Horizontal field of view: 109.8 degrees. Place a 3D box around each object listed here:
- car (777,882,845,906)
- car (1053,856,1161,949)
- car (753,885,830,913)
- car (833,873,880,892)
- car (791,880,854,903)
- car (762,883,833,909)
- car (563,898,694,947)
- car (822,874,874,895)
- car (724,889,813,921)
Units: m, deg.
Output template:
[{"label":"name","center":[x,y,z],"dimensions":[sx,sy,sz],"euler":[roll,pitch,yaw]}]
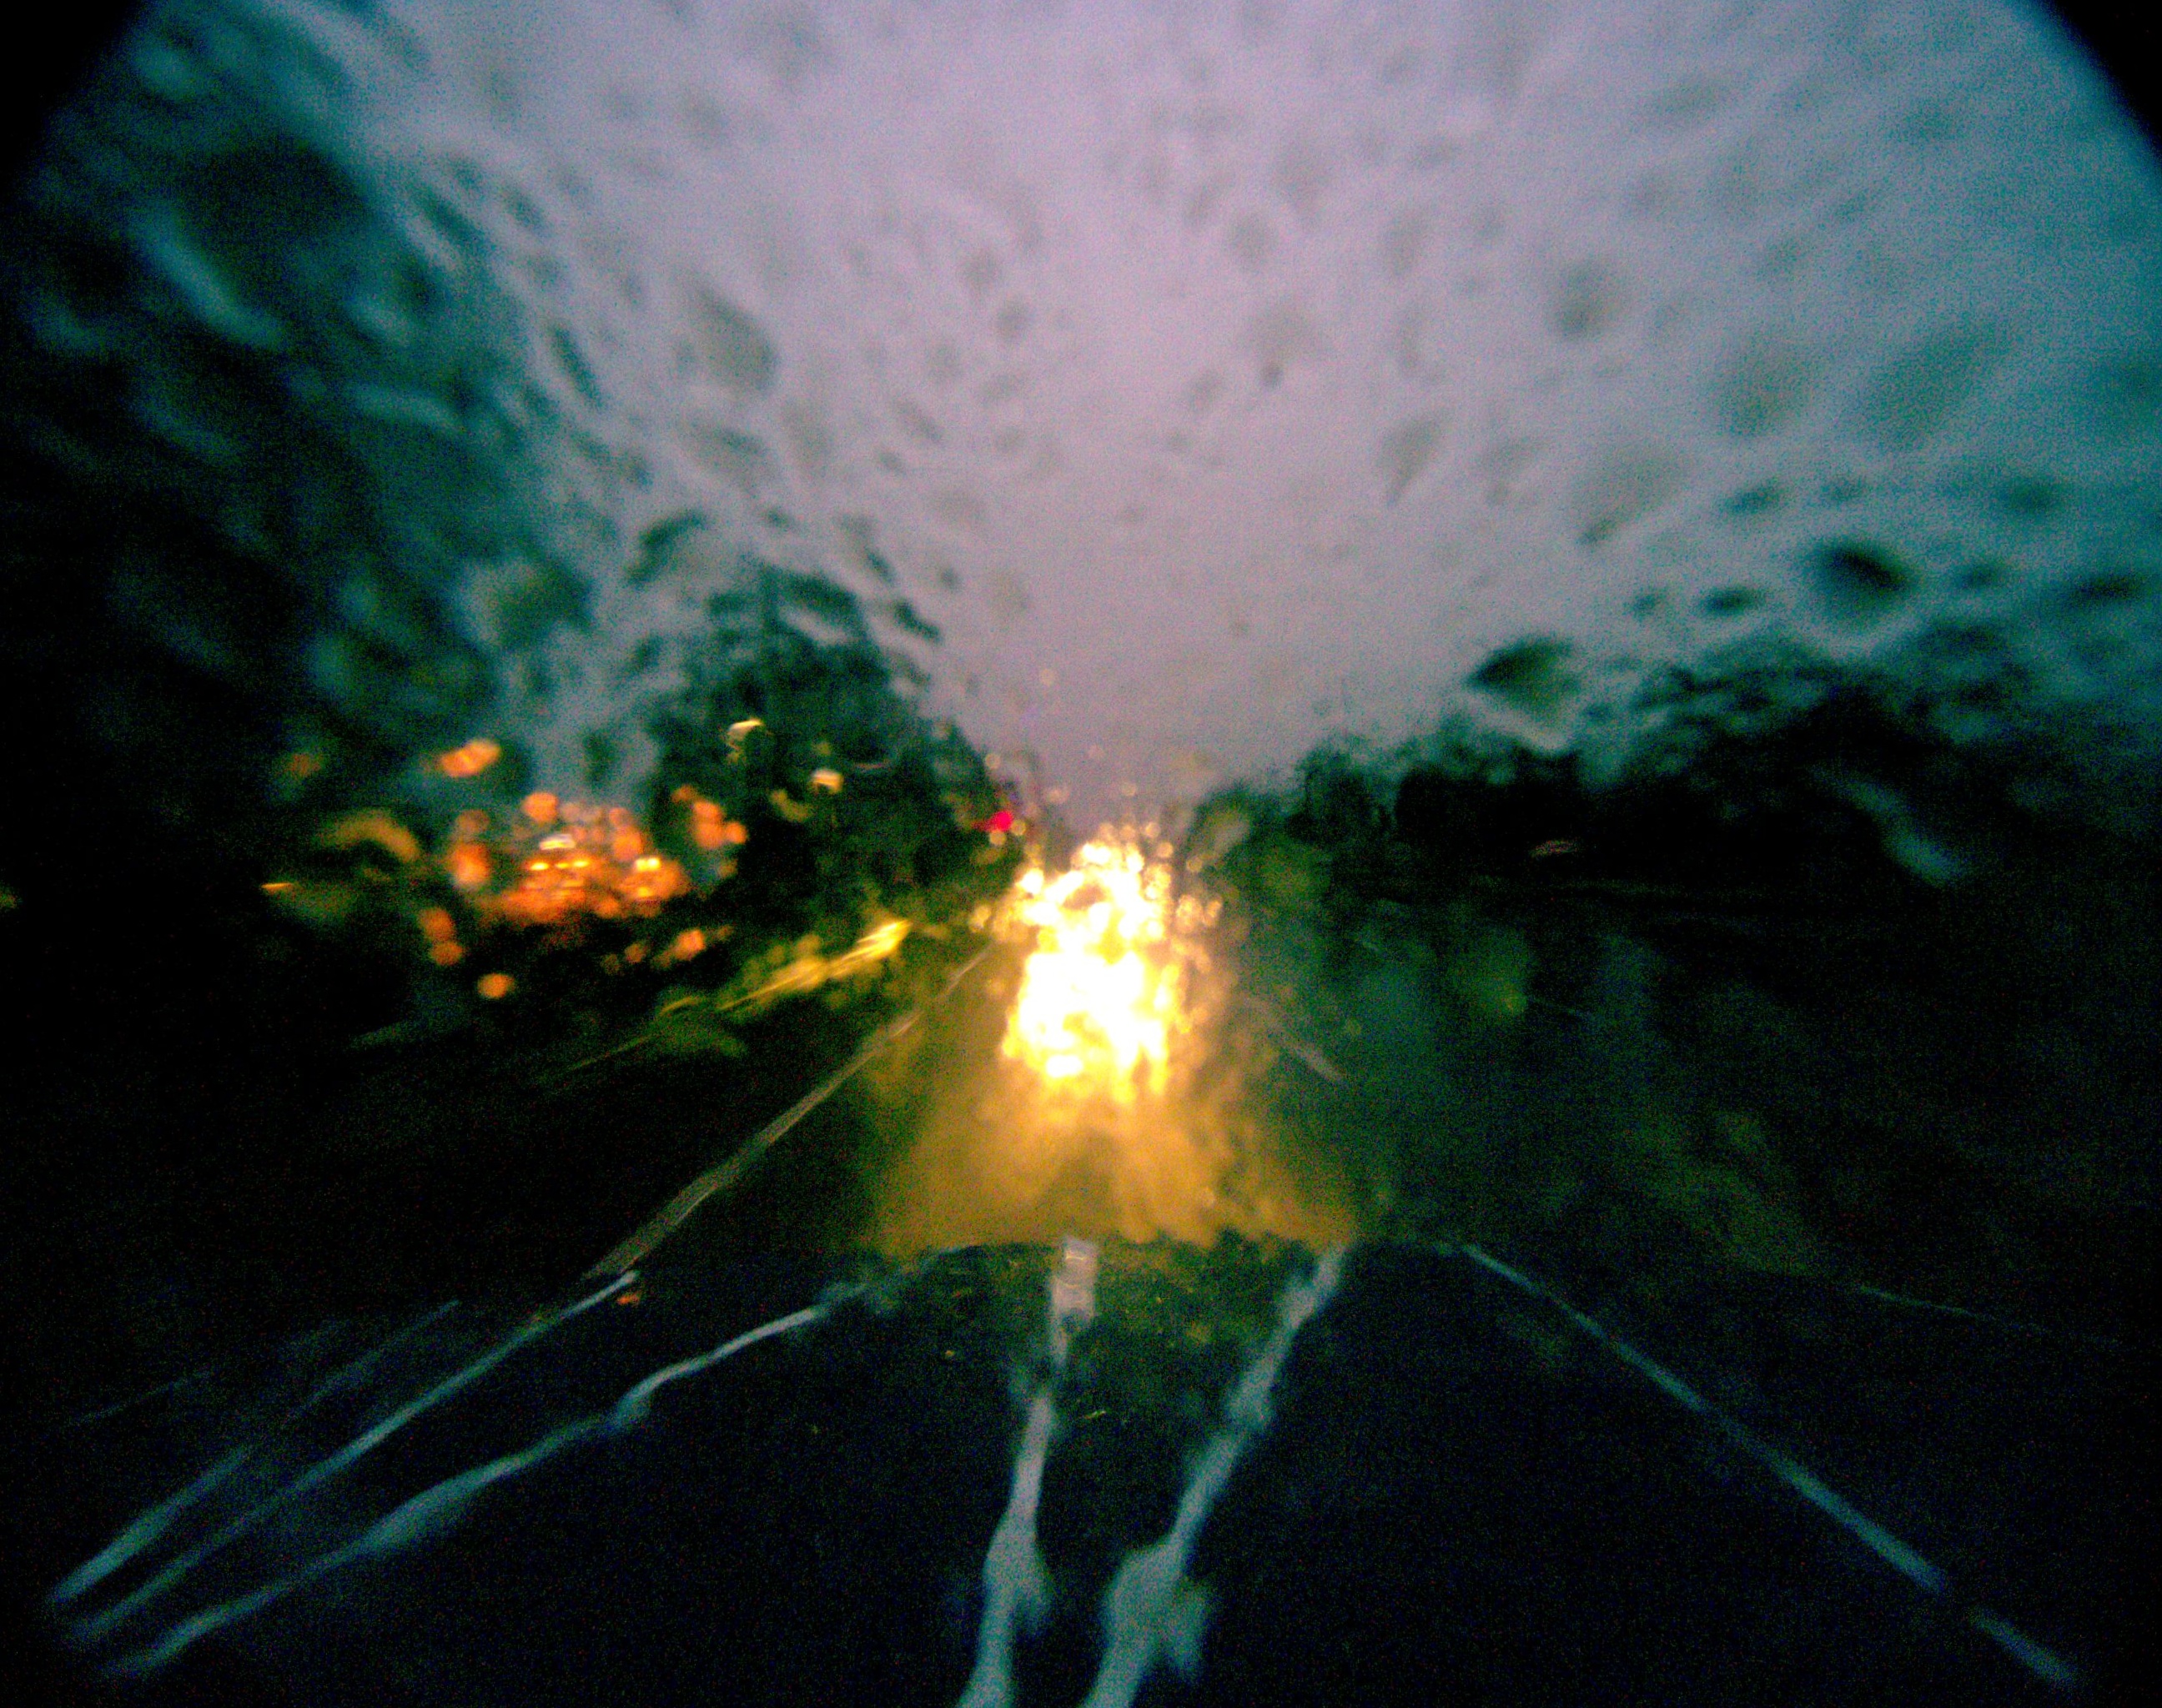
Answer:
[{"label":"car","center":[-18.262,2.709,51.510],"dimensions":[4.014,1.404,1.713],"euler":[-2,1,-9]},{"label":"car","center":[0.386,0.881,15.778],"dimensions":[1.810,1.453,4.244],"euler":[-4,1,-3]},{"label":"car","center":[-17.339,2.674,45.636],"dimensions":[4.014,1.424,1.713],"euler":[-2,1,-10]},{"label":"car","center":[-20.895,2.630,70.872],"dimensions":[4.014,1.523,1.713],"euler":[-2,1,-9]},{"label":"car","center":[-18.526,2.699,54.652],"dimensions":[4.014,1.404,1.713],"euler":[-2,1,-9]},{"label":"car","center":[-18.176,2.693,48.853],"dimensions":[4.014,1.404,1.713],"euler":[-2,1,-9]},{"label":"car","center":[-17.378,2.617,29.280],"dimensions":[4.010,1.632,1.715],"euler":[-2,1,3]},{"label":"car","center":[-19.908,2.574,65.023],"dimensions":[4.014,1.588,1.805],"euler":[-2,1,-9]},{"label":"car","center":[-16.415,2.690,40.082],"dimensions":[4.014,1.404,1.713],"euler":[-2,1,-10]}]
